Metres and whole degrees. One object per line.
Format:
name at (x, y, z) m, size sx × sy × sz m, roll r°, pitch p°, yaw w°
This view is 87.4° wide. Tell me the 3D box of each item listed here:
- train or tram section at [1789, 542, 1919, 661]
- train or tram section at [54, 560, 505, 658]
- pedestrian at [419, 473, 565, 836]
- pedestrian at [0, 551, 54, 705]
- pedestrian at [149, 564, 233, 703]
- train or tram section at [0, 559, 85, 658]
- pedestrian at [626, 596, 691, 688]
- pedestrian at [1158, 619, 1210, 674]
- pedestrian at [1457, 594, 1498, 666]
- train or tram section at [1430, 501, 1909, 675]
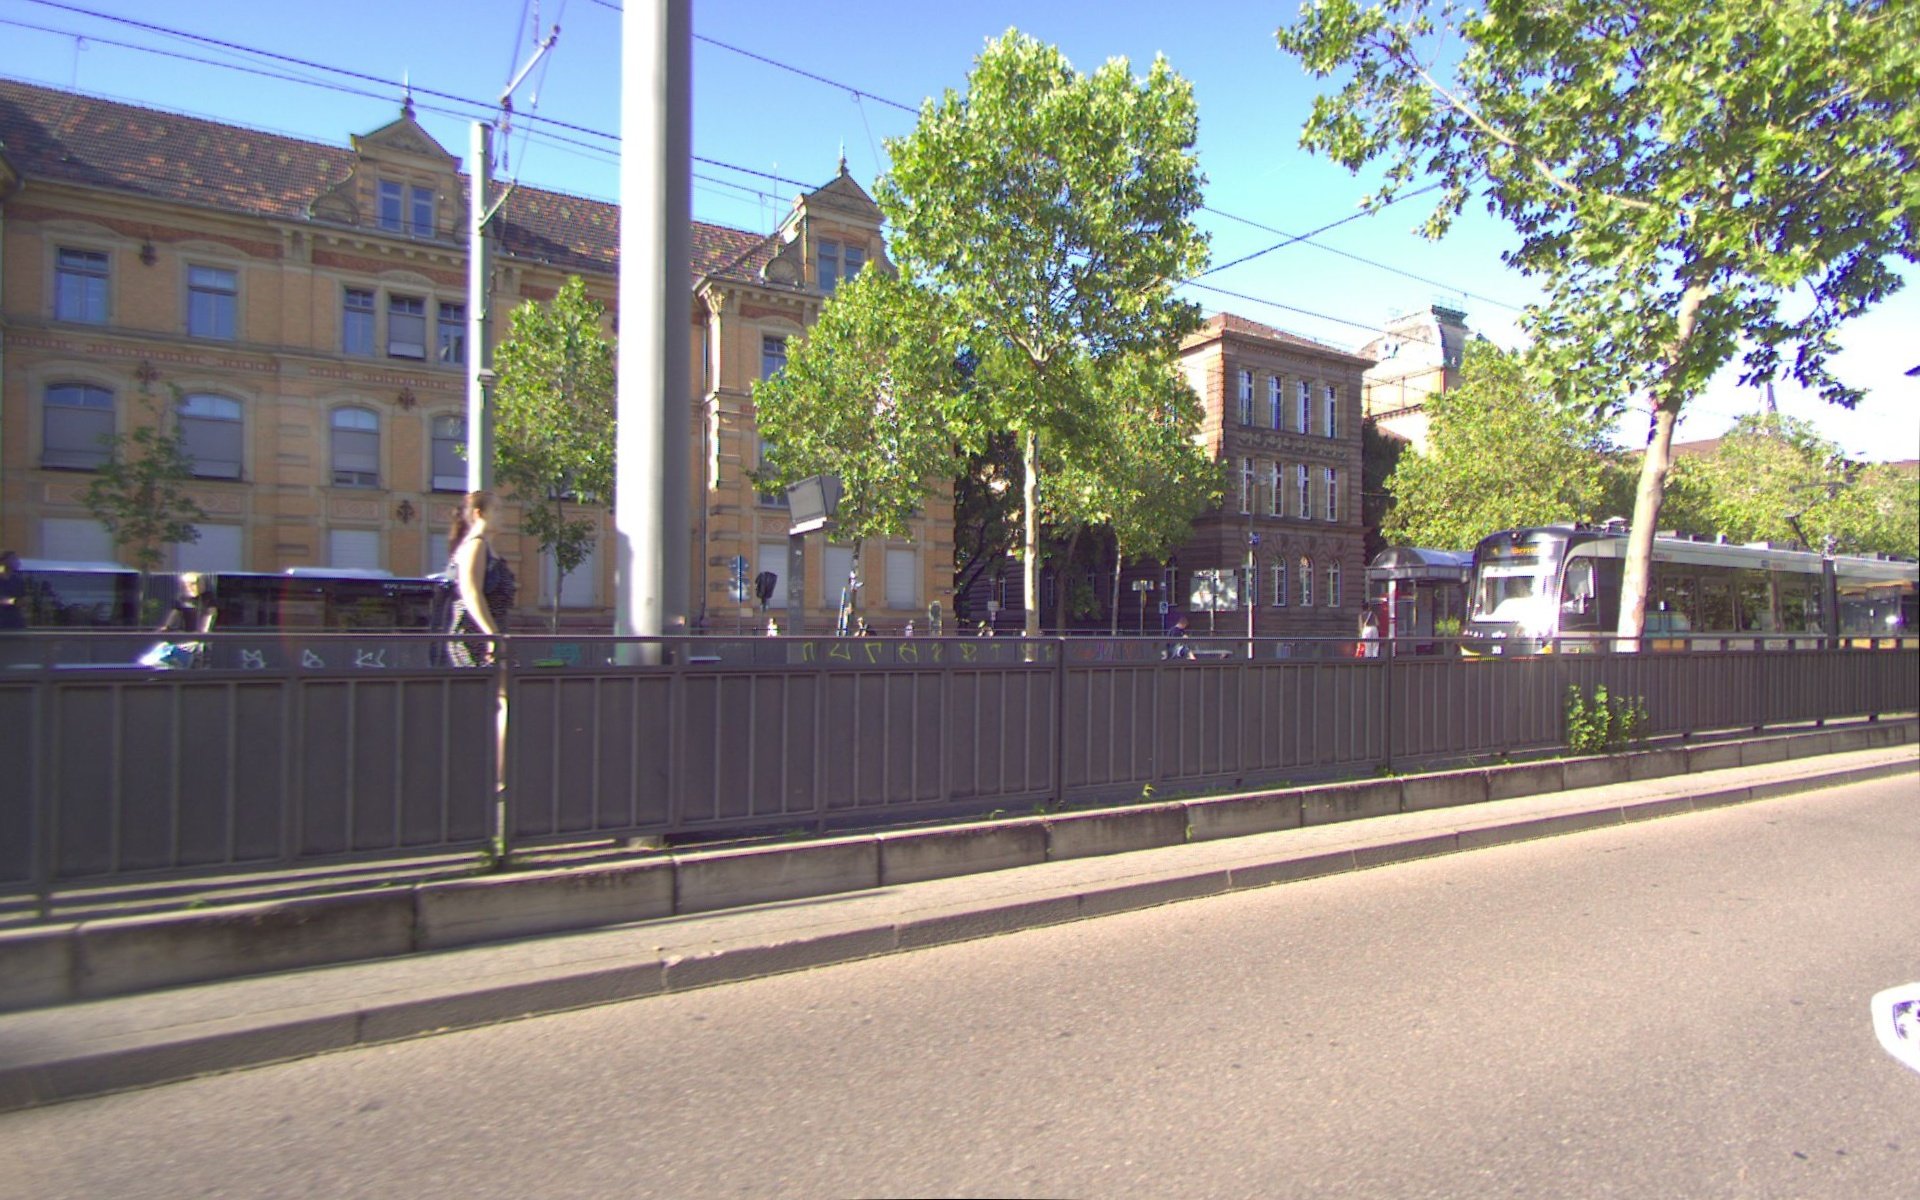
train or tram section at (34.659, 0.167, 35.006) m, size 17.999 × 3.480 × 2.835 m, roll 1°, pitch 0°, yaw -30°
train or tram section at (-18.193, 0.313, 27.885) m, size 9.938 × 2.359 × 2.632 m, roll 1°, pitch -1°, yaw -30°
pedestrian at (-2.455, 0.268, 5.249) m, size 0.617 × 1.732 × 0.678 m, roll 1°, pitch -1°, yaw -30°
pedestrian at (-11.603, 0.347, 12.210) m, size 0.612 × 1.825 × 0.626 m, roll -1°, pitch -3°, yaw 19°
pedestrian at (-10.184, 0.439, 13.329) m, size 0.804 × 1.780 × 0.670 m, roll 1°, pitch -1°, yaw -33°
train or tram section at (-25.941, 0.170, 23.358) m, size 7.982 × 2.359 × 2.632 m, roll 1°, pitch -1°, yaw -30°
pedestrian at (-5.029, 0.697, 16.767) m, size 0.870 × 1.480 × 0.721 m, roll 1°, pitch -3°, yaw -34°
pedestrian at (4.961, 1.012, 22.276) m, size 0.876 × 1.182 × 0.723 m, roll 1°, pitch -1°, yaw -30°
pedestrian at (13.790, 0.801, 26.764) m, size 0.641 × 1.879 × 0.706 m, roll 1°, pitch -2°, yaw -31°
train or tram section at (19.079, -0.115, 25.891) m, size 18.059 × 3.480 × 2.857 m, roll 1°, pitch 0°, yaw -30°
